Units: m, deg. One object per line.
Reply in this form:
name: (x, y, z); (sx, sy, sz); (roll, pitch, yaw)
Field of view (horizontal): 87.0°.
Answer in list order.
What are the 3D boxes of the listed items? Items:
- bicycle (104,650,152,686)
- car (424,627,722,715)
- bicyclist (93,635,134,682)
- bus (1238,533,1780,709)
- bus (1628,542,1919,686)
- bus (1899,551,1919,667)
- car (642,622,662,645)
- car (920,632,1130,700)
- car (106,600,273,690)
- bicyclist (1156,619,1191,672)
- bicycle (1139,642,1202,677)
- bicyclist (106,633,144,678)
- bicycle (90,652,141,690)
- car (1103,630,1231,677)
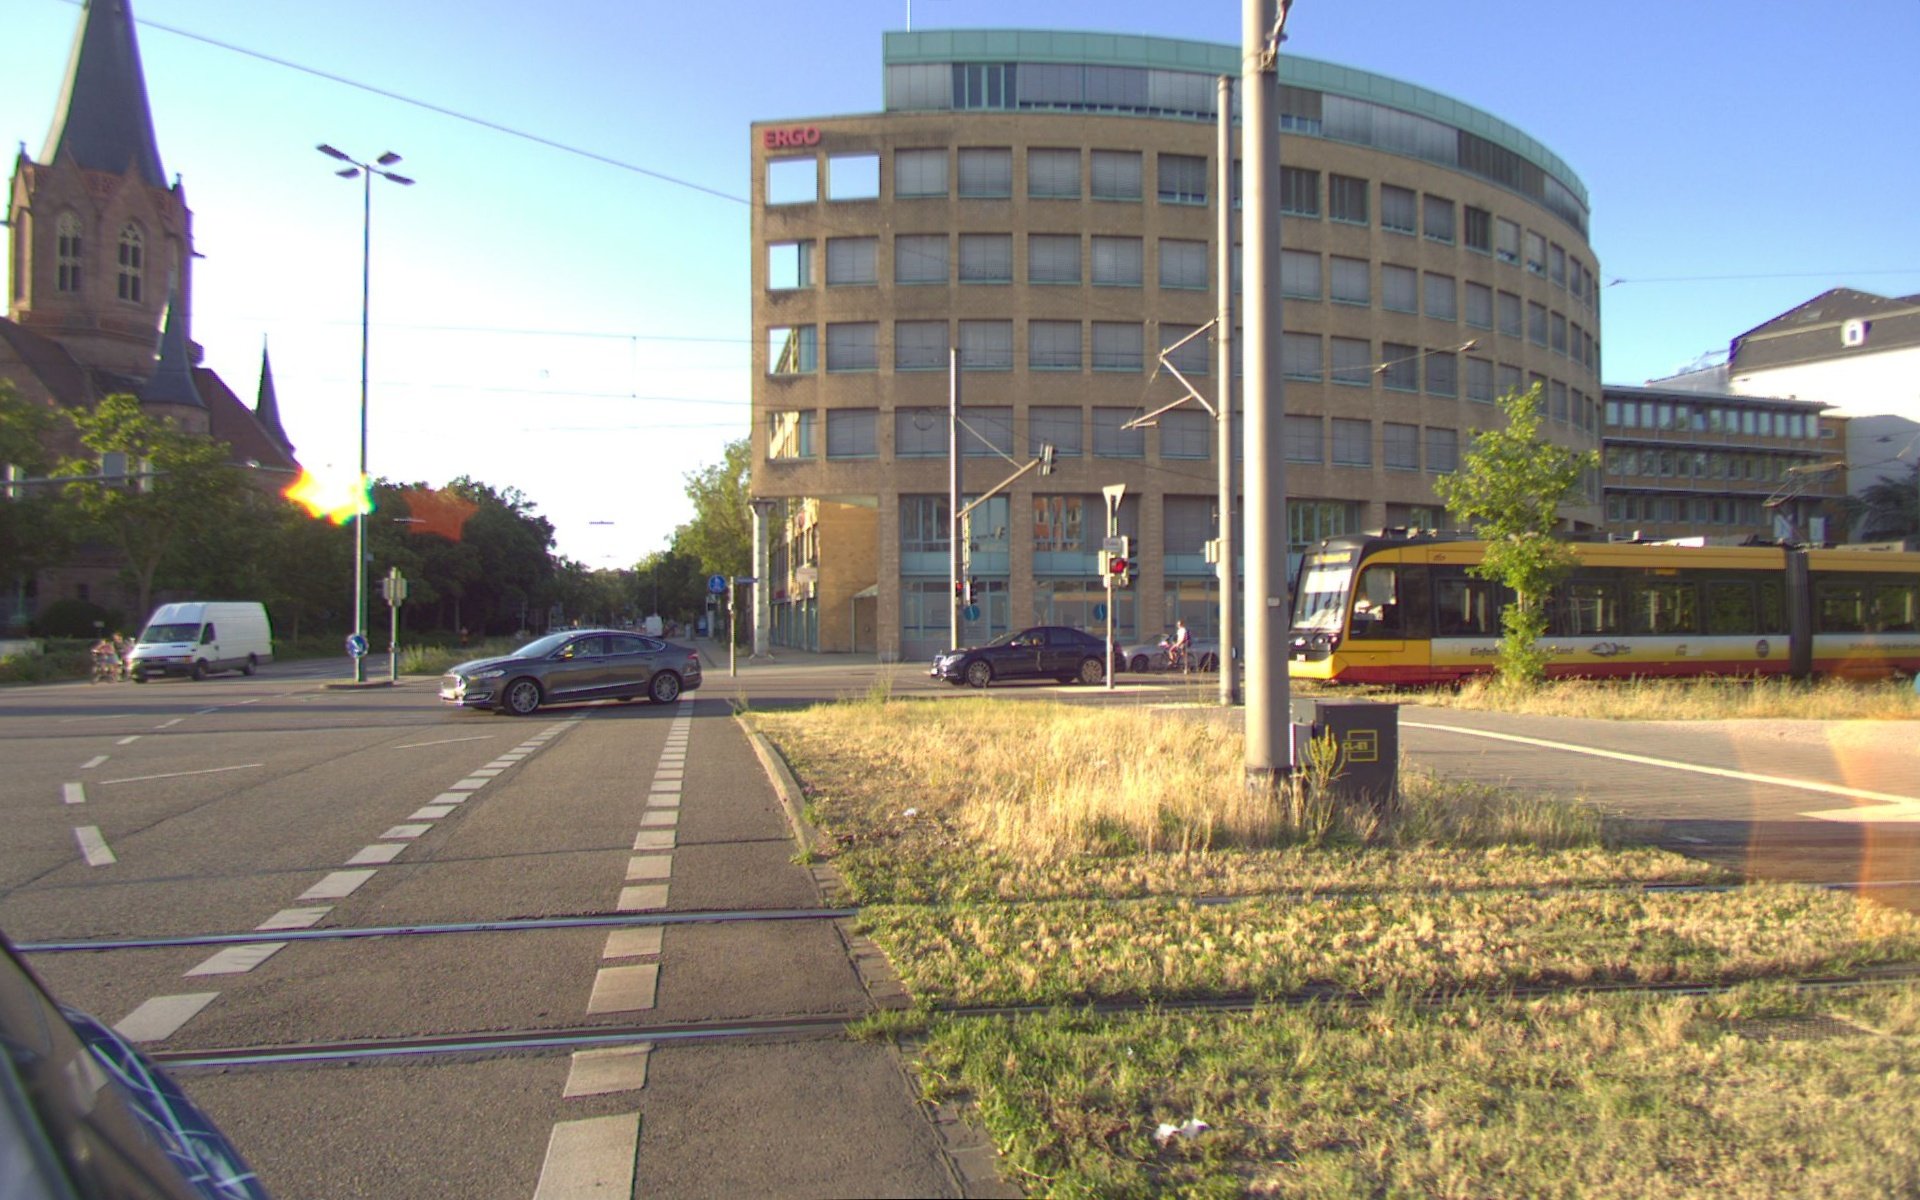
bicycle: (-30.486, 2.472, 37.114); (0.482, 1.191, 1.976); (-1, 0, -12)
car: (-7.204, 1.272, 19.261); (1.880, 1.447, 4.968); (-2, -3, 44)
bicyclist: (-29.355, 2.027, 35.104); (0.809, 1.580, 0.735); (-1, 0, -11)
bus: (12.792, 0.342, 23.604); (11.924, 3.482, 3.772); (-1, 0, -17)
bus: (23.556, 0.259, 26.890); (10.553, 3.356, 3.772); (-1, 0, -17)
bus: (34.953, 0.169, 30.518); (13.477, 3.388, 3.773); (-1, 0, -19)
car: (-35.234, 3.790, 115.820); (2.069, 2.441, 4.378); (-1, 0, -16)
car: (1.623, 1.615, 25.561); (4.942, 1.519, 1.729); (-1, -2, -15)
car: (-27.713, 1.532, 36.812); (2.270, 2.899, 7.222); (-1, -1, -15)
bicyclist: (6.952, 1.471, 32.928); (0.780, 1.674, 0.839); (0, 0, -17)
bicycle: (6.840, 1.923, 32.888); (2.033, 1.075, 0.440); (0, 0, -17)
bicyclist: (-30.474, 2.023, 36.957); (0.809, 1.580, 0.735); (-1, 0, -11)
bicycle: (-29.350, 2.455, 35.217); (0.482, 1.191, 1.976); (-1, 0, -12)
car: (7.254, 1.874, 35.682); (3.933, 1.567, 2.005); (1, -2, -13)
